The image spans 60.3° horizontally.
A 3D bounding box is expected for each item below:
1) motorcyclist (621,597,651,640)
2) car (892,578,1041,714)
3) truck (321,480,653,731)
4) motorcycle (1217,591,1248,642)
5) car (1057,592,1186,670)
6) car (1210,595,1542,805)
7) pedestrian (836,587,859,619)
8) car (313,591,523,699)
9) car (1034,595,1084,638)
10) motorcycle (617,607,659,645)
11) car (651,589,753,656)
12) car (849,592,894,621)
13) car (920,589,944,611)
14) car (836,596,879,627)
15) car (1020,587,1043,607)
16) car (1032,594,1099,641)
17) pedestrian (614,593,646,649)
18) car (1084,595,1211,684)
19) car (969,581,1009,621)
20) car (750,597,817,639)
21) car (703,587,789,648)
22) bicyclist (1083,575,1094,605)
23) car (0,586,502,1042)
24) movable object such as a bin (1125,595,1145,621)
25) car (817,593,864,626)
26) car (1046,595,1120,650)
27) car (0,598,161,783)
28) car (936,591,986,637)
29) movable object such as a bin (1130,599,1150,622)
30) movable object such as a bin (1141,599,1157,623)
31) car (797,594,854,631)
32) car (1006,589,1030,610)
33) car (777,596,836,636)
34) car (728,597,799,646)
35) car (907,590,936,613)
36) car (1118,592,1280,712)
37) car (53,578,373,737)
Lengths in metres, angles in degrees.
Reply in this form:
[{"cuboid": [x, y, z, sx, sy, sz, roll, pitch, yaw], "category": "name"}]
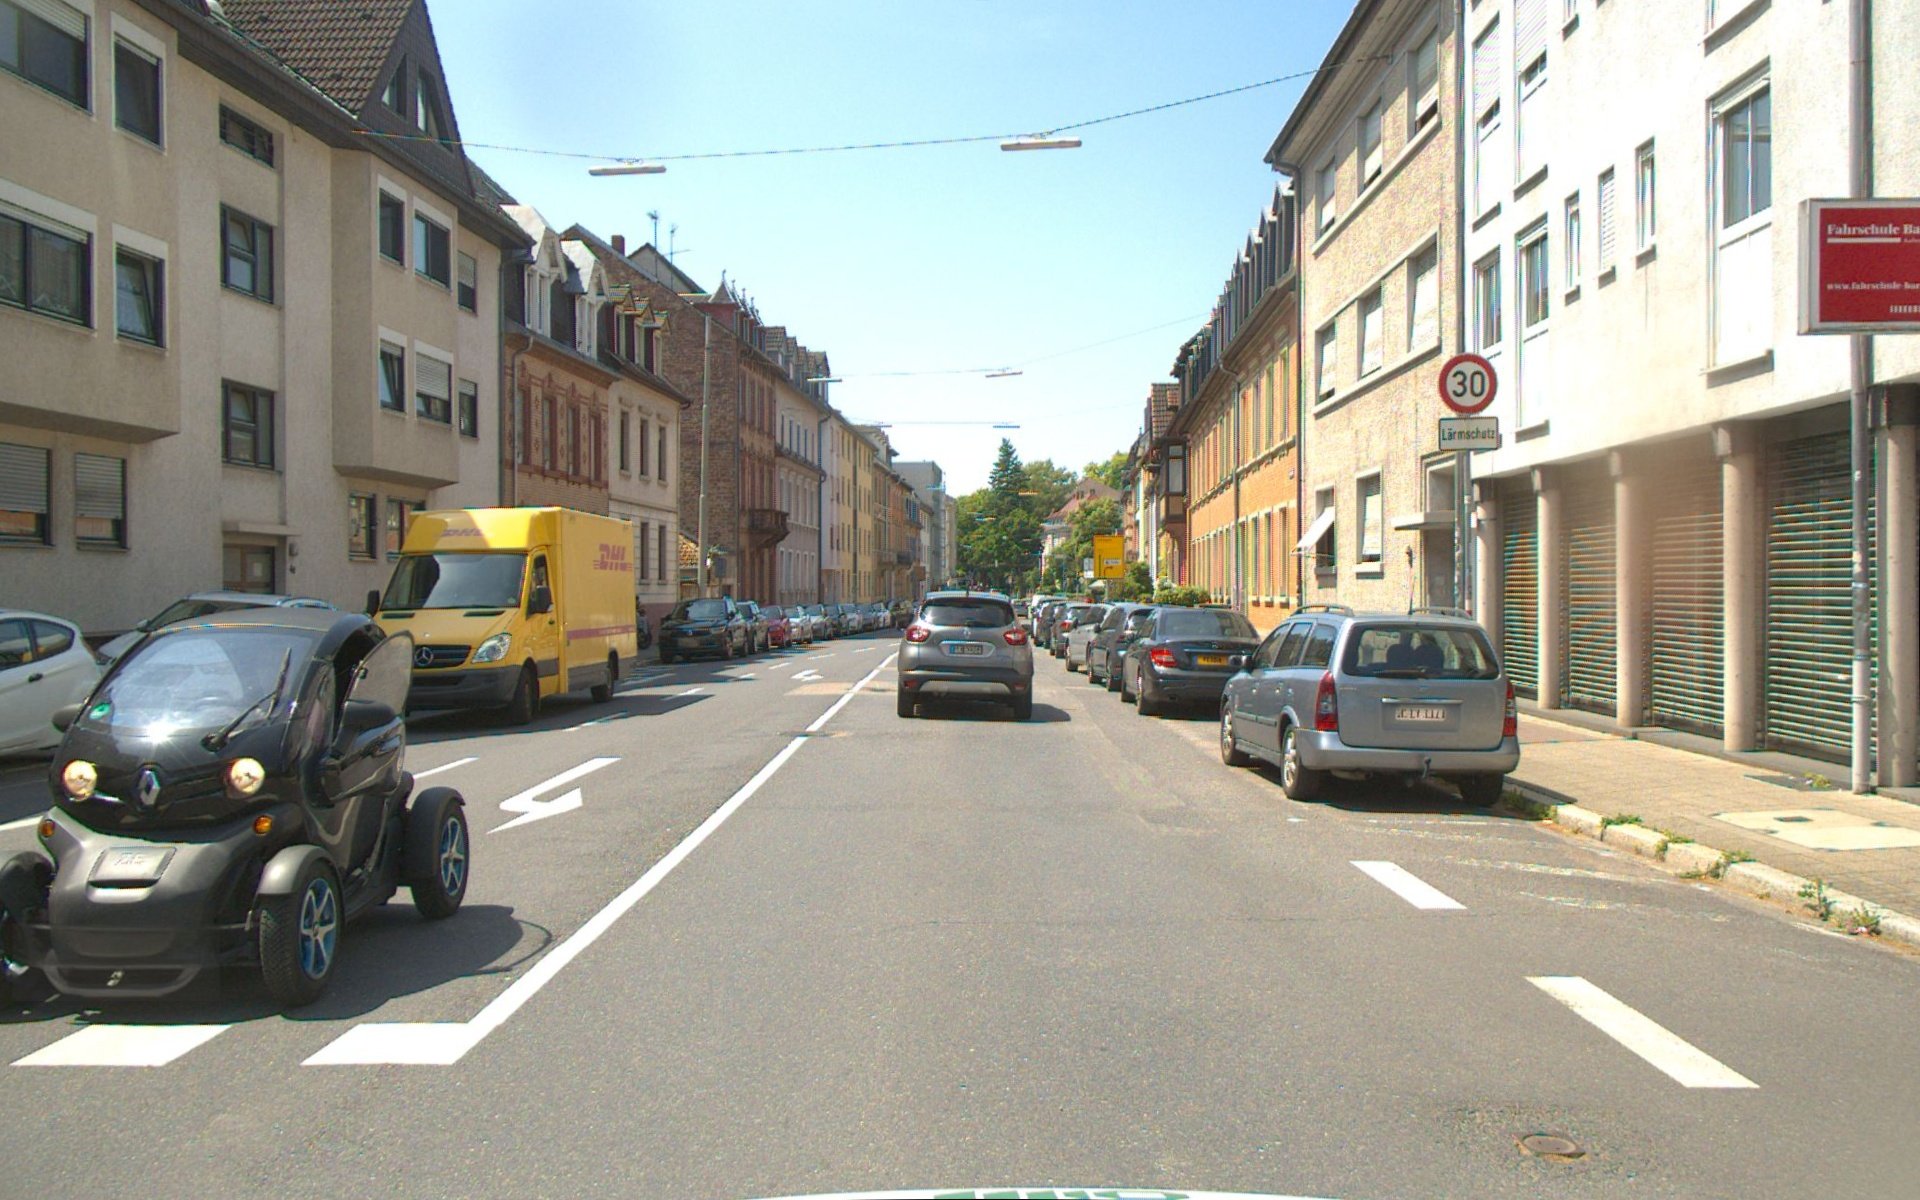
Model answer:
[{"cuboid": [-9.587, 0.547, 48.955, 0.703, 1.270, 0.712, 0, 0, 1], "category": "motorcyclist"}, {"cuboid": [0.000, 0.545, 22.205, 1.709, 1.644, 3.997, 1, 0, -4], "category": "car"}, {"cuboid": [-6.171, 0.048, 22.898, 2.179, 2.819, 7.565, -2, 0, 1], "category": "truck"}, {"cuboid": [6.786, 0.397, 41.187, 0.583, 1.246, 1.361, 0, 0, 1], "category": "motorcycle"}, {"cuboid": [3.249, 0.599, 34.128, 1.818, 1.489, 4.545, 0, 0, -5], "category": "car"}, {"cuboid": [3.327, 0.718, 14.042, 1.644, 1.480, 4.141, 1, 0, -2], "category": "car"}, {"cuboid": [-6.237, 0.166, 91.497, 1.127, 1.780, 0.970, -1, 0, 4], "category": "pedestrian"}, {"cuboid": [-8.481, 0.659, 26.318, 1.802, 1.514, 4.387, 2, 0, 1], "category": "car"}, {"cuboid": [3.467, 0.572, 58.622, 1.680, 1.439, 4.591, -1, 0, 3], "category": "car"}, {"cuboid": [-9.613, 0.771, 49.472, 0.827, 1.097, 1.872, 0, 0, 2], "category": "motorcycle"}, {"cuboid": [-6.781, 0.568, 43.915, 1.802, 1.624, 4.503, -2, 0, 2], "category": "car"}, {"cuboid": [-4.769, 0.353, 89.675, 1.801, 1.447, 4.560, -3, 0, 4], "category": "car"}, {"cuboid": [-2.265, 0.017, 134.757, 1.866, 1.648, 4.301, -2, 0, -1], "category": "car"}, {"cuboid": [-5.158, 0.568, 83.900, 1.802, 1.447, 4.646, -2, 0, 0], "category": "car"}, {"cuboid": [5.804, -0.245, 134.071, 1.726, 1.587, 3.944, 0, 0, 4], "category": "car"}, {"cuboid": [3.356, 0.531, 53.290, 1.615, 1.439, 4.498, 0, 0, -3], "category": "car"}, {"cuboid": [-9.057, 0.571, 45.401, 0.595, 1.521, 0.971, 1, 0, 3], "category": "pedestrian"}, {"cuboid": [3.204, 0.637, 29.008, 1.618, 1.445, 4.047, 0, 0, -2], "category": "car"}, {"cuboid": [1.561, 0.020, 87.566, 1.952, 2.049, 4.467, -1, 0, 2], "category": "car"}, {"cuboid": [-6.465, 0.644, 60.999, 1.802, 1.447, 4.503, -2, 0, 2], "category": "car"}, {"cuboid": [-6.407, 0.507, 49.933, 1.802, 1.624, 4.503, -4, 0, 2], "category": "car"}, {"cuboid": [6.362, -0.500, 81.825, 0.521, 1.495, 0.791, -1, 0, 3], "category": "bicyclist"}, {"cuboid": [-2.902, 0.695, 6.798, 1.467, 1.484, 2.720, 0, 0, -5], "category": "car"}, {"cuboid": [7.361, 0.330, 69.523, 0.772, 1.107, 0.554, -1, 0, 0], "category": "movable object such as a bin"}, {"cuboid": [-5.597, 0.429, 77.977, 1.802, 1.447, 4.502, -2, 0, 0], "category": "car"}, {"cuboid": [3.277, 0.574, 44.592, 1.666, 1.405, 4.166, 0, 0, 0], "category": "car"}, {"cuboid": [-9.053, 0.766, 14.649, 1.802, 1.515, 4.386, 2, 0, 0], "category": "car"}, {"cuboid": [0.068, 0.506, 62.590, 1.775, 1.649, 4.442, -2, 0, 1], "category": "car"}, {"cuboid": [7.380, 0.425, 67.847, 0.772, 0.923, 0.539, -1, 0, 0], "category": "movable object such as a bin"}, {"cuboid": [8.441, 0.500, 73.831, 0.645, 1.073, 0.749, 0, 0, 3], "category": "movable object such as a bin"}, {"cuboid": [-5.887, 0.545, 72.725, 1.801, 1.447, 4.504, -4, 0, 3], "category": "car"}, {"cuboid": [4.552, -0.023, 128.673, 1.726, 1.587, 3.944, 0, 0, 4], "category": "car"}, {"cuboid": [-6.147, 0.630, 66.860, 1.802, 1.447, 4.502, -5, 0, 1], "category": "car"}, {"cuboid": [-6.444, 0.666, 54.700, 1.802, 1.447, 4.501, -3, 0, -1], "category": "car"}, {"cuboid": [-2.831, 0.109, 123.079, 1.865, 1.648, 4.304, -2, 0, 2], "category": "car"}, {"cuboid": [3.229, 0.641, 23.105, 1.676, 1.499, 4.438, 0, 0, 1], "category": "car"}, {"cuboid": [-8.711, 0.614, 19.766, 1.802, 1.623, 4.386, 2, 0, 0], "category": "car"}]
